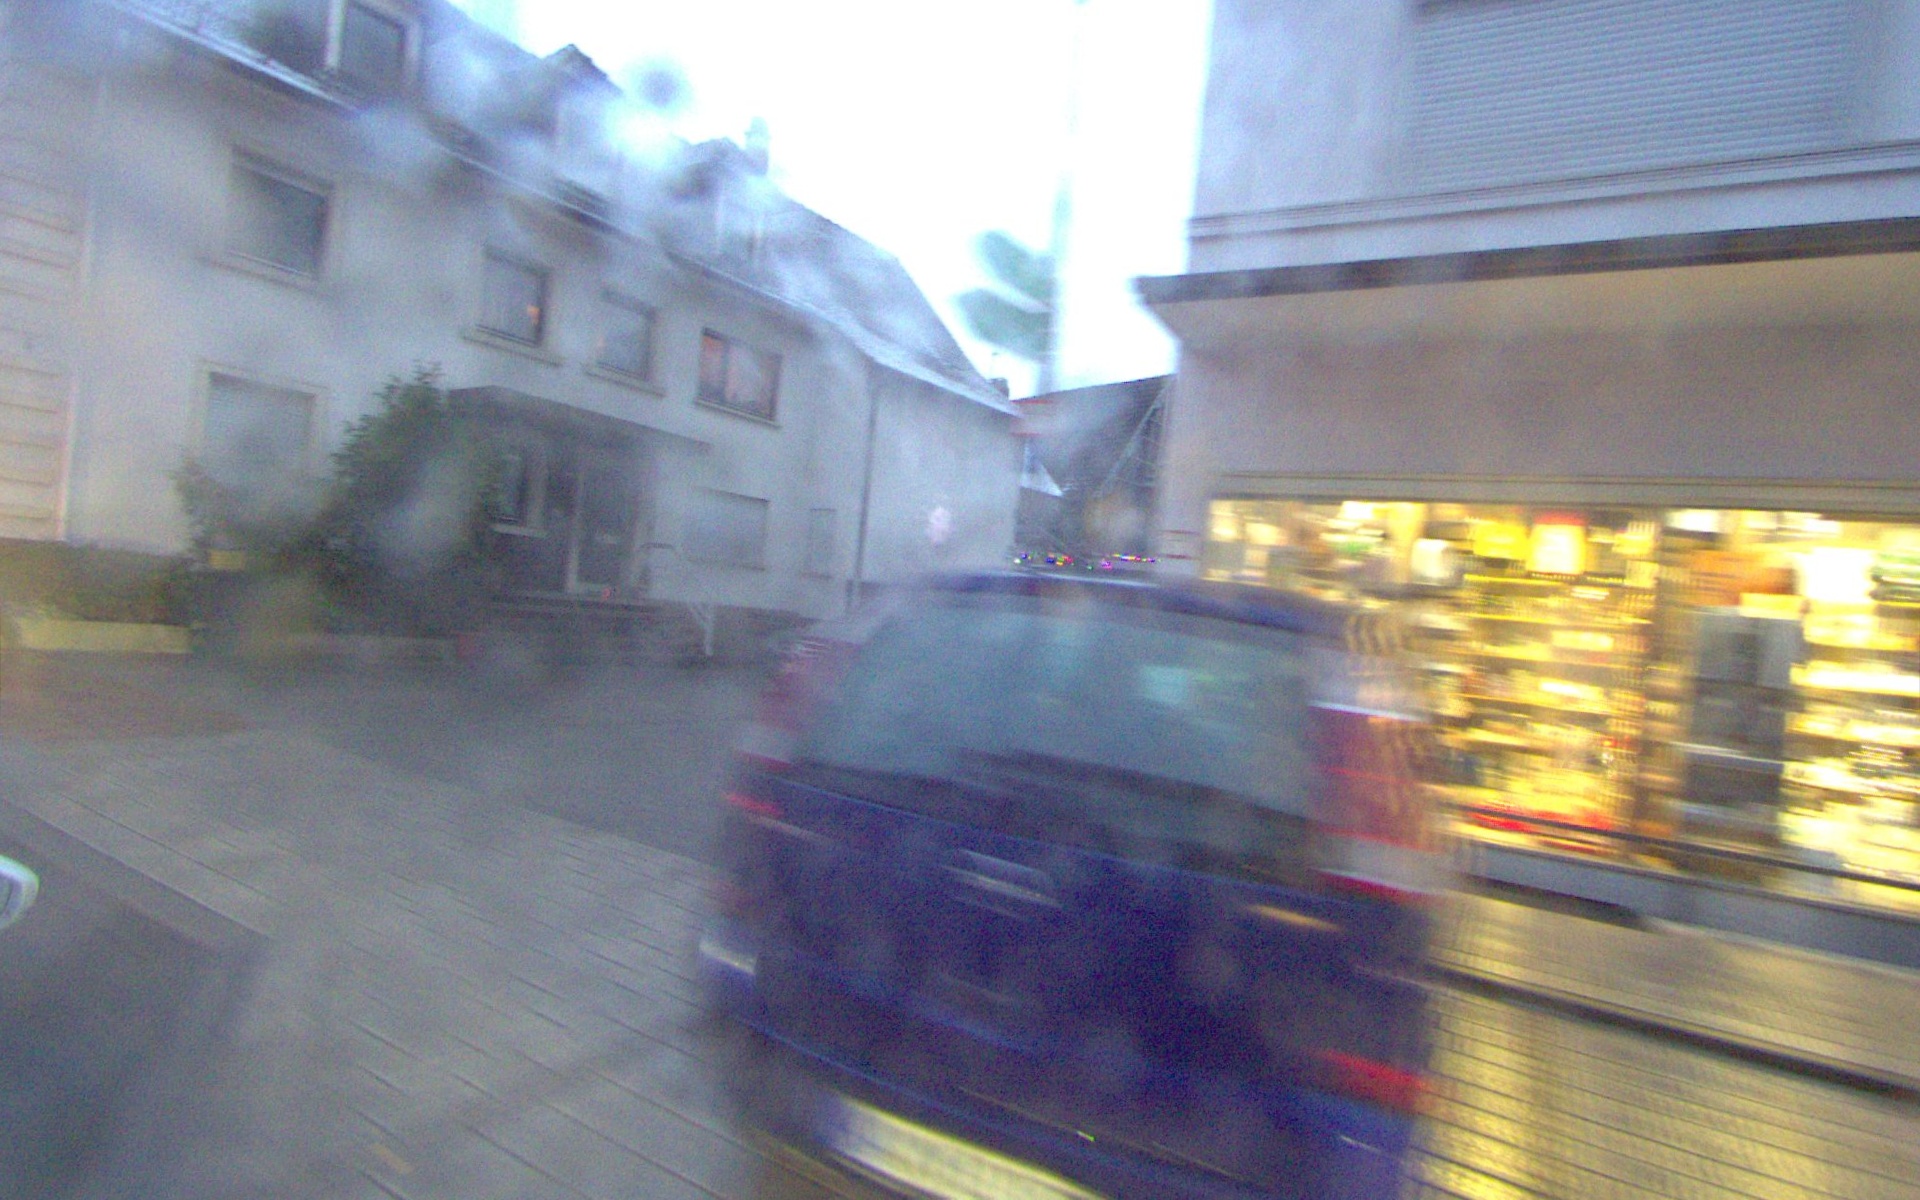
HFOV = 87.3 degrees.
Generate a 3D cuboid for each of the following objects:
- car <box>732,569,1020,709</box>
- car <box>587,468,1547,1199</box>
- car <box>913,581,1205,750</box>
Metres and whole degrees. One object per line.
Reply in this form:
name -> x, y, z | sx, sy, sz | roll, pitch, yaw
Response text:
car -> -1.015, 0.564, 14.133 | 1.905, 1.543, 3.989 | 6, 0, 33
car -> 0.854, 0.695, 3.534 | 1.652, 1.599, 3.877 | 6, 0, 26
car -> 1.397, 0.774, 12.487 | 1.967, 1.590, 3.991 | 6, 0, 31
